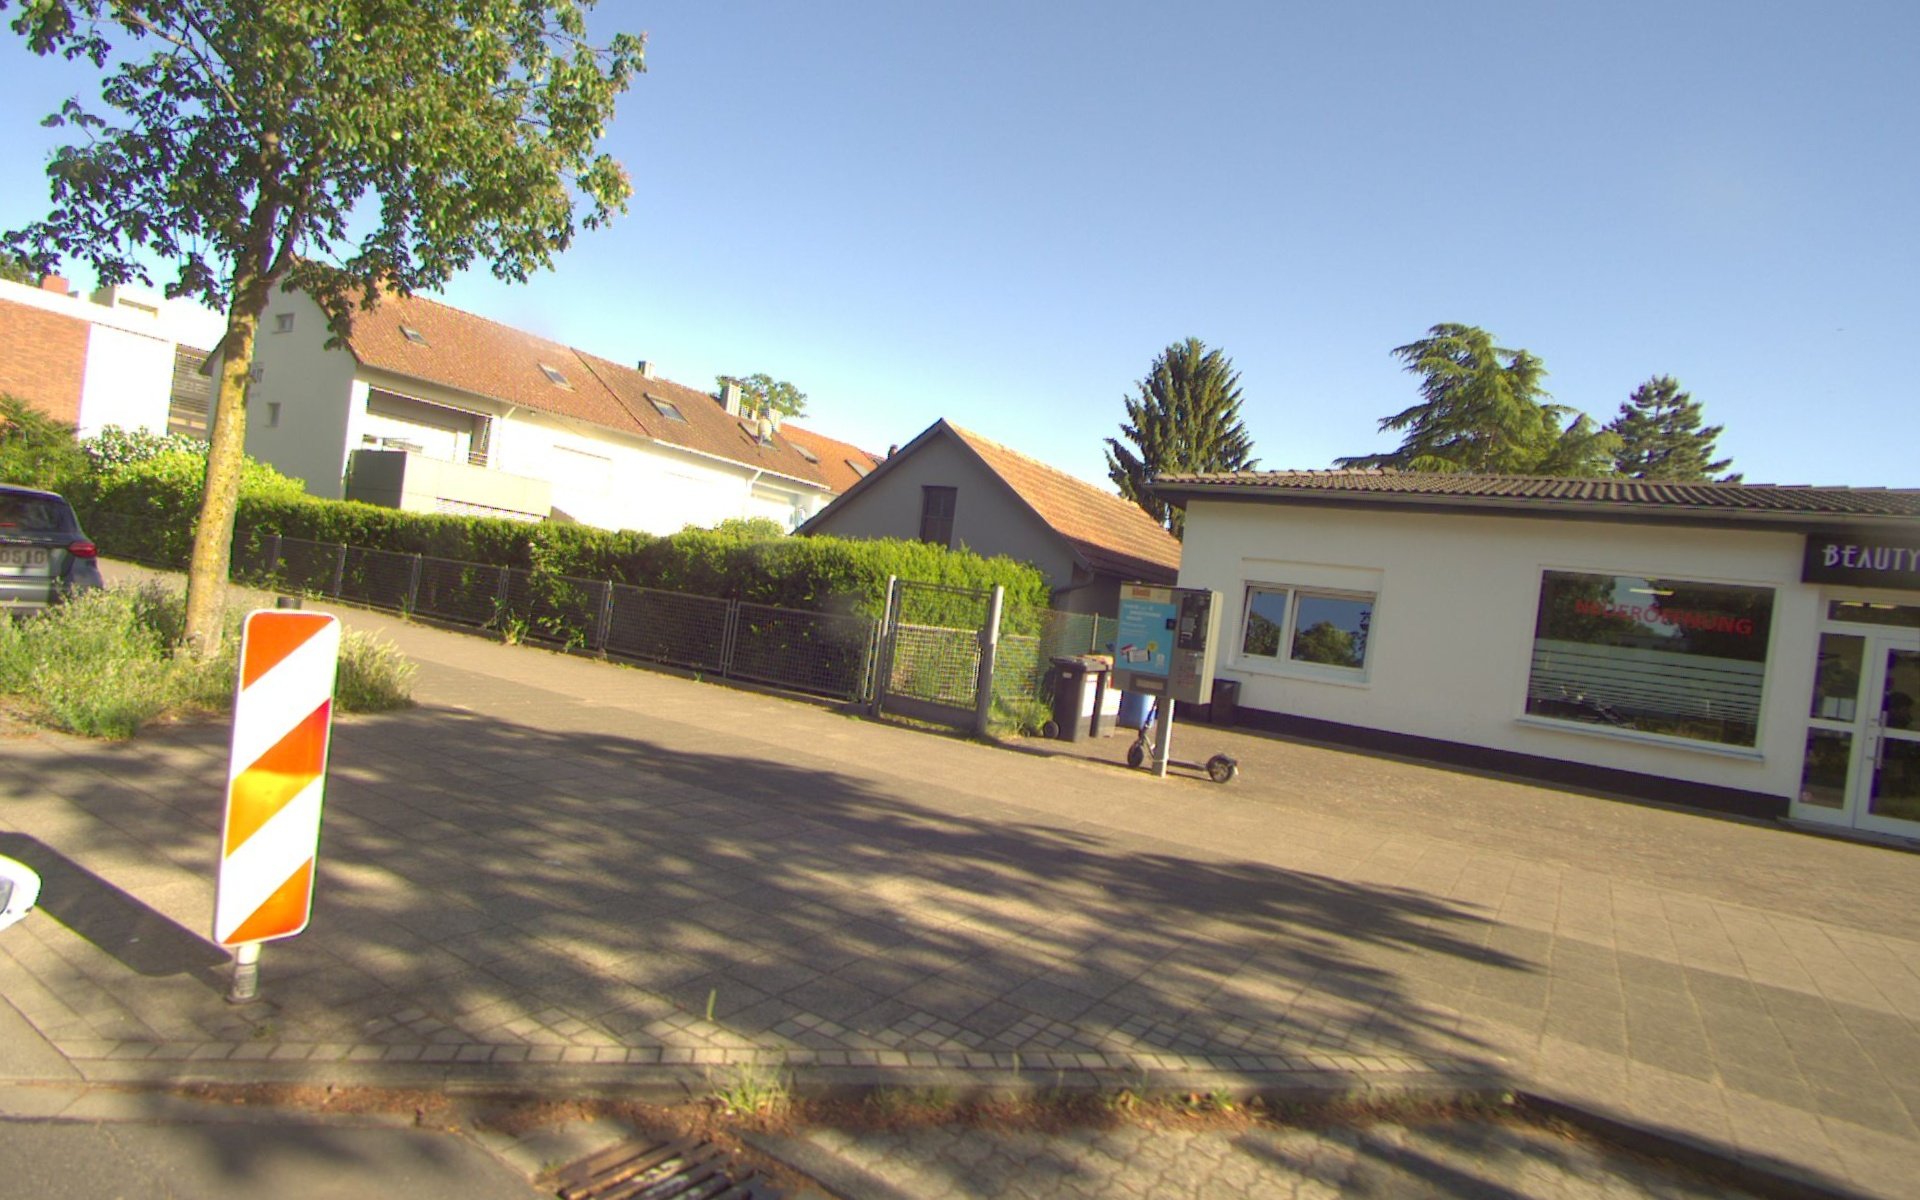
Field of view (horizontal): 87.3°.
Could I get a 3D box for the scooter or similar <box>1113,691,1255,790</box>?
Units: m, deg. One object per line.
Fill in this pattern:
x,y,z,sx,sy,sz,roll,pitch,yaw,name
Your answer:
2.164,1.339,9.755,1.208,0.726,0.449,6,4,32,scooter or similar

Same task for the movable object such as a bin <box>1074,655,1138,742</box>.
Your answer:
1.716,1.145,11.816,0.518,0.942,0.458,6,2,31,movable object such as a bin

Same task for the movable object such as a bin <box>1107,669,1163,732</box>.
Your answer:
2.258,1.285,12.948,0.518,0.728,0.458,6,2,31,movable object such as a bin

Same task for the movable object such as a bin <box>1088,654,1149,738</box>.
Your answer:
1.948,1.166,12.364,0.518,0.942,0.458,6,2,31,movable object such as a bin

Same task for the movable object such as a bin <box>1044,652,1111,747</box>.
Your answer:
1.321,1.102,11.330,0.518,0.989,0.458,6,2,31,movable object such as a bin

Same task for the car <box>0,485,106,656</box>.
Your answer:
-10.516,-0.440,10.440,3.541,1.595,1.493,7,2,32,car
